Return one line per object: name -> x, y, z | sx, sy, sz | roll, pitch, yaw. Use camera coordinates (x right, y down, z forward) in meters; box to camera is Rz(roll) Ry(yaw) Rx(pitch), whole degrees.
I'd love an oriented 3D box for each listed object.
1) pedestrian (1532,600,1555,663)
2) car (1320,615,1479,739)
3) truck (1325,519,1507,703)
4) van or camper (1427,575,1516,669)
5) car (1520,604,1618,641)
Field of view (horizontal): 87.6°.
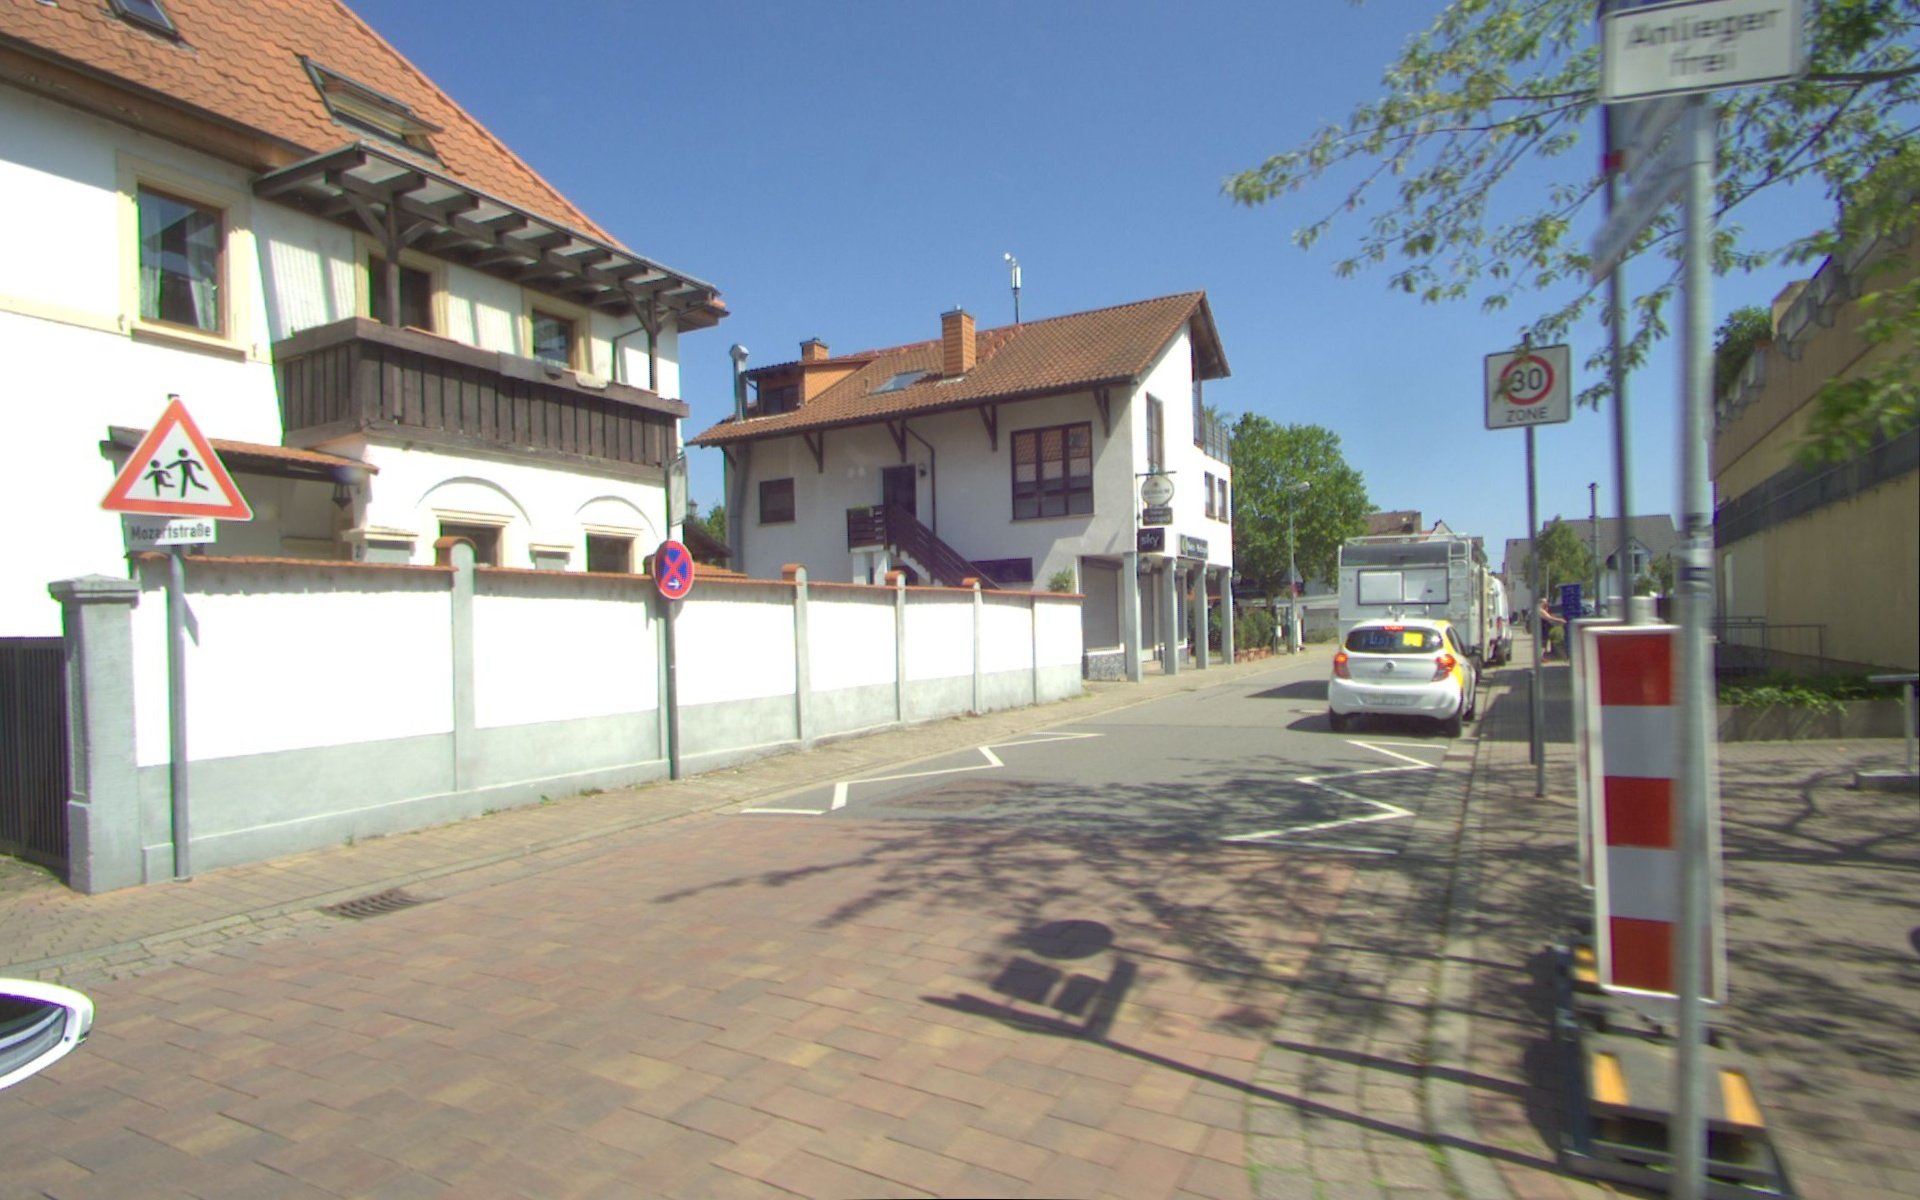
pedestrian -> 16.480, 0.882, 28.287 | 0.494, 1.753, 0.756 | -2, -1, 33
car -> 6.244, 0.972, 14.006 | 1.630, 1.471, 3.609 | -1, -1, 30
truck -> 9.283, 0.264, 19.974 | 2.508, 3.044, 6.374 | -2, -2, 31
van or camper -> 15.027, 0.640, 29.286 | 2.039, 2.510, 4.652 | -2, -2, 30
car -> 29.024, 1.088, 47.852 | 3.877, 1.597, 1.651 | -2, -1, 28
